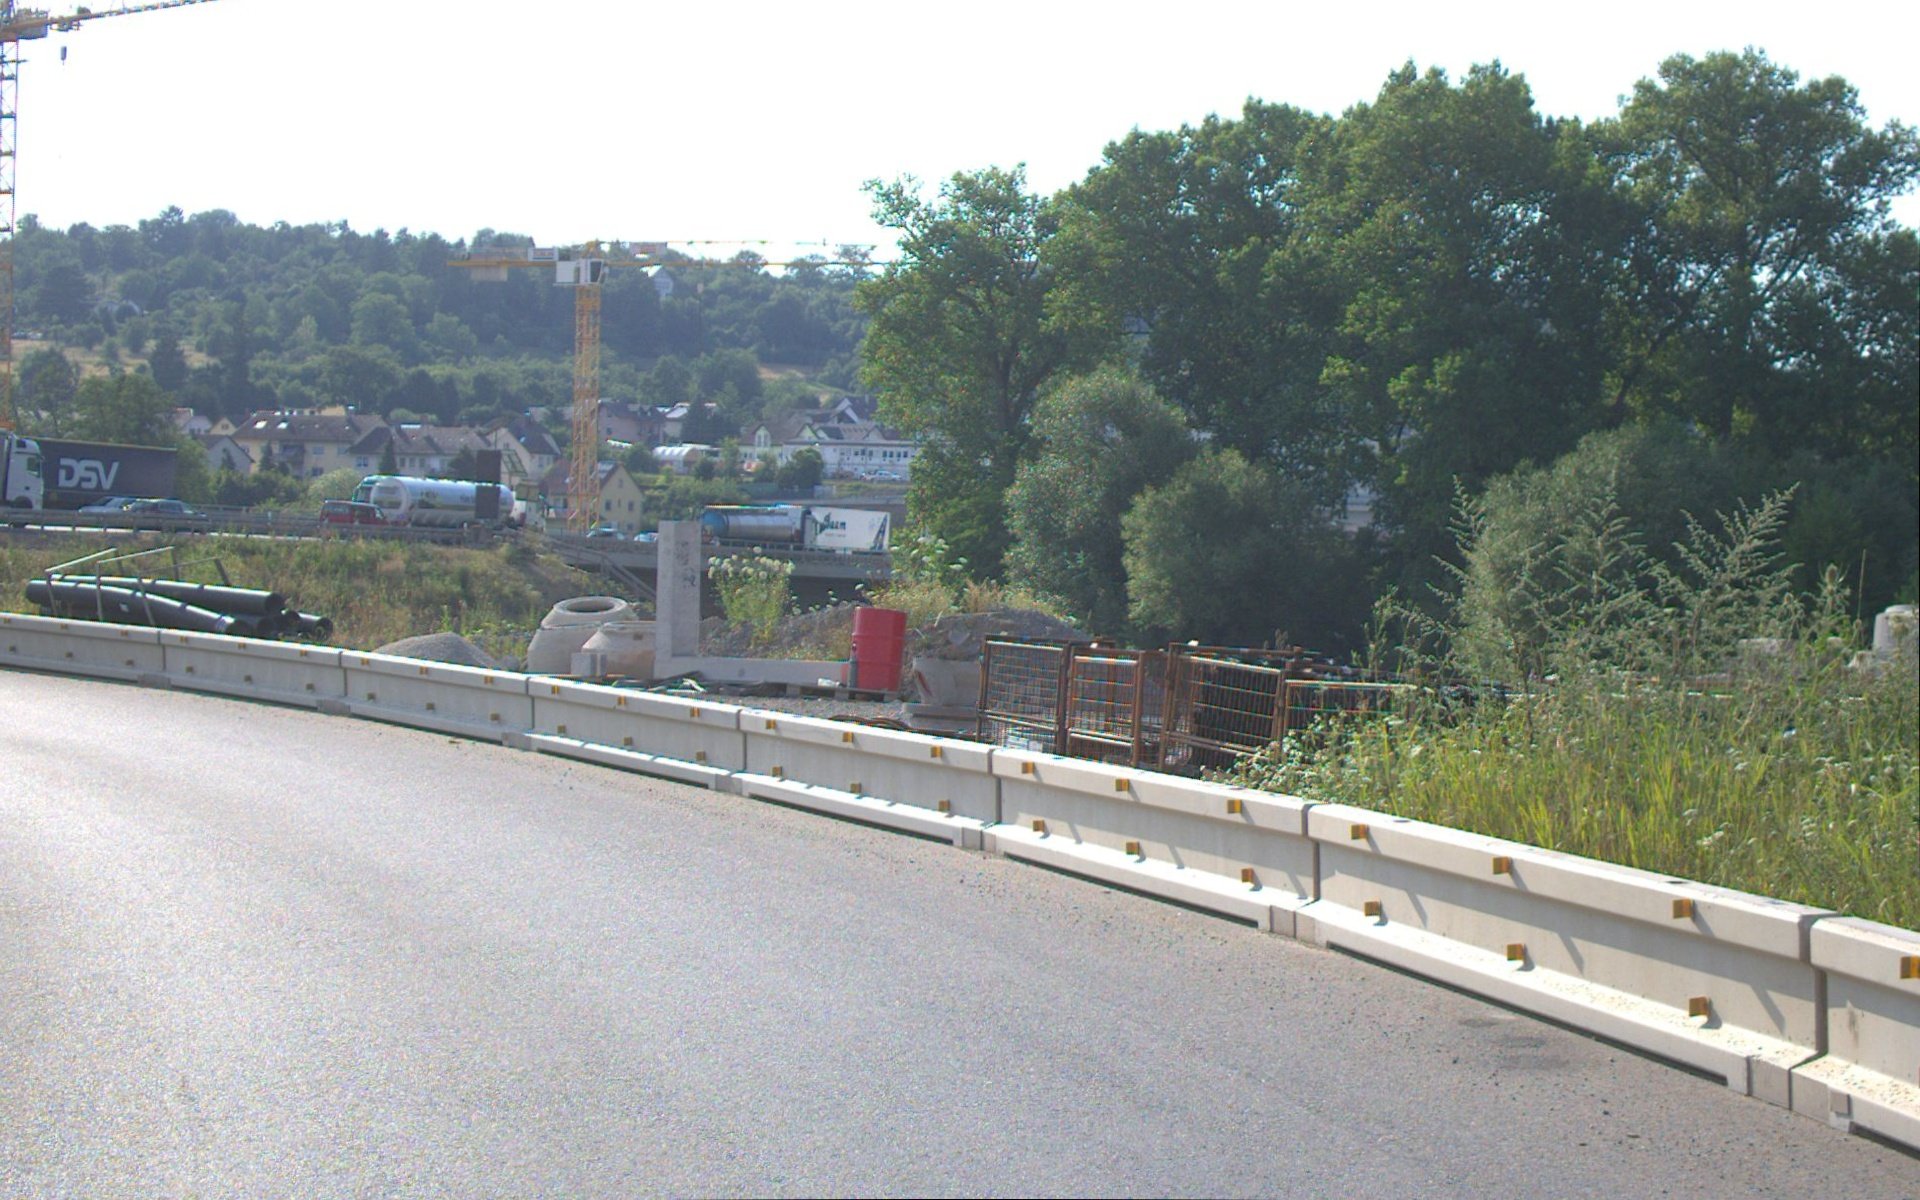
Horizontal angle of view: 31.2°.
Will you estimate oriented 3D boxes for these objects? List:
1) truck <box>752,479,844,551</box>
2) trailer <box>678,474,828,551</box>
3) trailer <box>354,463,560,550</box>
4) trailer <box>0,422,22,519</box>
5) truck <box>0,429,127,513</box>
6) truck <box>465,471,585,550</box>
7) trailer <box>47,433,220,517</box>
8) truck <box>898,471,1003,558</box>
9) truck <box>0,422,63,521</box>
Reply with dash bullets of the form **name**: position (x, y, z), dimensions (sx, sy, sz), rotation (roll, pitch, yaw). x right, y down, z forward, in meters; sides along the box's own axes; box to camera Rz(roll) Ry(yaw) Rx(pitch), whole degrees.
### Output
- **truck**: position (-10.208, -5.314, 216.947), dimensions (3.102, 4.271, 6.616), rotation (3, 1, 22)
- **trailer**: position (-12.612, -5.302, 211.196), dimensions (3.107, 4.299, 14.235), rotation (3, 1, 22)
- **trailer**: position (-25.918, -4.790, 178.473), dimensions (3.389, 3.983, 14.727), rotation (3, 1, 22)
- **trailer**: position (-43.512, -5.462, 137.060), dimensions (3.389, 3.983, 14.727), rotation (3, 1, 22)
- **truck**: position (-42.520, -6.093, 163.040), dimensions (3.000, 3.714, 5.681), rotation (2, 1, 23)
- **truck**: position (-23.350, -4.778, 184.734), dimensions (3.394, 3.983, 6.616), rotation (3, 1, 22)
- **trailer**: position (-40.311, -6.080, 168.090), dimensions (3.010, 3.739, 9.558), rotation (2, 1, 24)
- **truck**: position (-0.594, -5.942, 241.502), dimensions (3.168, 5.850, 10.662), rotation (2, 1, 24)
- **truck**: position (-40.930, -5.445, 143.321), dimensions (3.347, 3.983, 6.616), rotation (3, 1, 22)
